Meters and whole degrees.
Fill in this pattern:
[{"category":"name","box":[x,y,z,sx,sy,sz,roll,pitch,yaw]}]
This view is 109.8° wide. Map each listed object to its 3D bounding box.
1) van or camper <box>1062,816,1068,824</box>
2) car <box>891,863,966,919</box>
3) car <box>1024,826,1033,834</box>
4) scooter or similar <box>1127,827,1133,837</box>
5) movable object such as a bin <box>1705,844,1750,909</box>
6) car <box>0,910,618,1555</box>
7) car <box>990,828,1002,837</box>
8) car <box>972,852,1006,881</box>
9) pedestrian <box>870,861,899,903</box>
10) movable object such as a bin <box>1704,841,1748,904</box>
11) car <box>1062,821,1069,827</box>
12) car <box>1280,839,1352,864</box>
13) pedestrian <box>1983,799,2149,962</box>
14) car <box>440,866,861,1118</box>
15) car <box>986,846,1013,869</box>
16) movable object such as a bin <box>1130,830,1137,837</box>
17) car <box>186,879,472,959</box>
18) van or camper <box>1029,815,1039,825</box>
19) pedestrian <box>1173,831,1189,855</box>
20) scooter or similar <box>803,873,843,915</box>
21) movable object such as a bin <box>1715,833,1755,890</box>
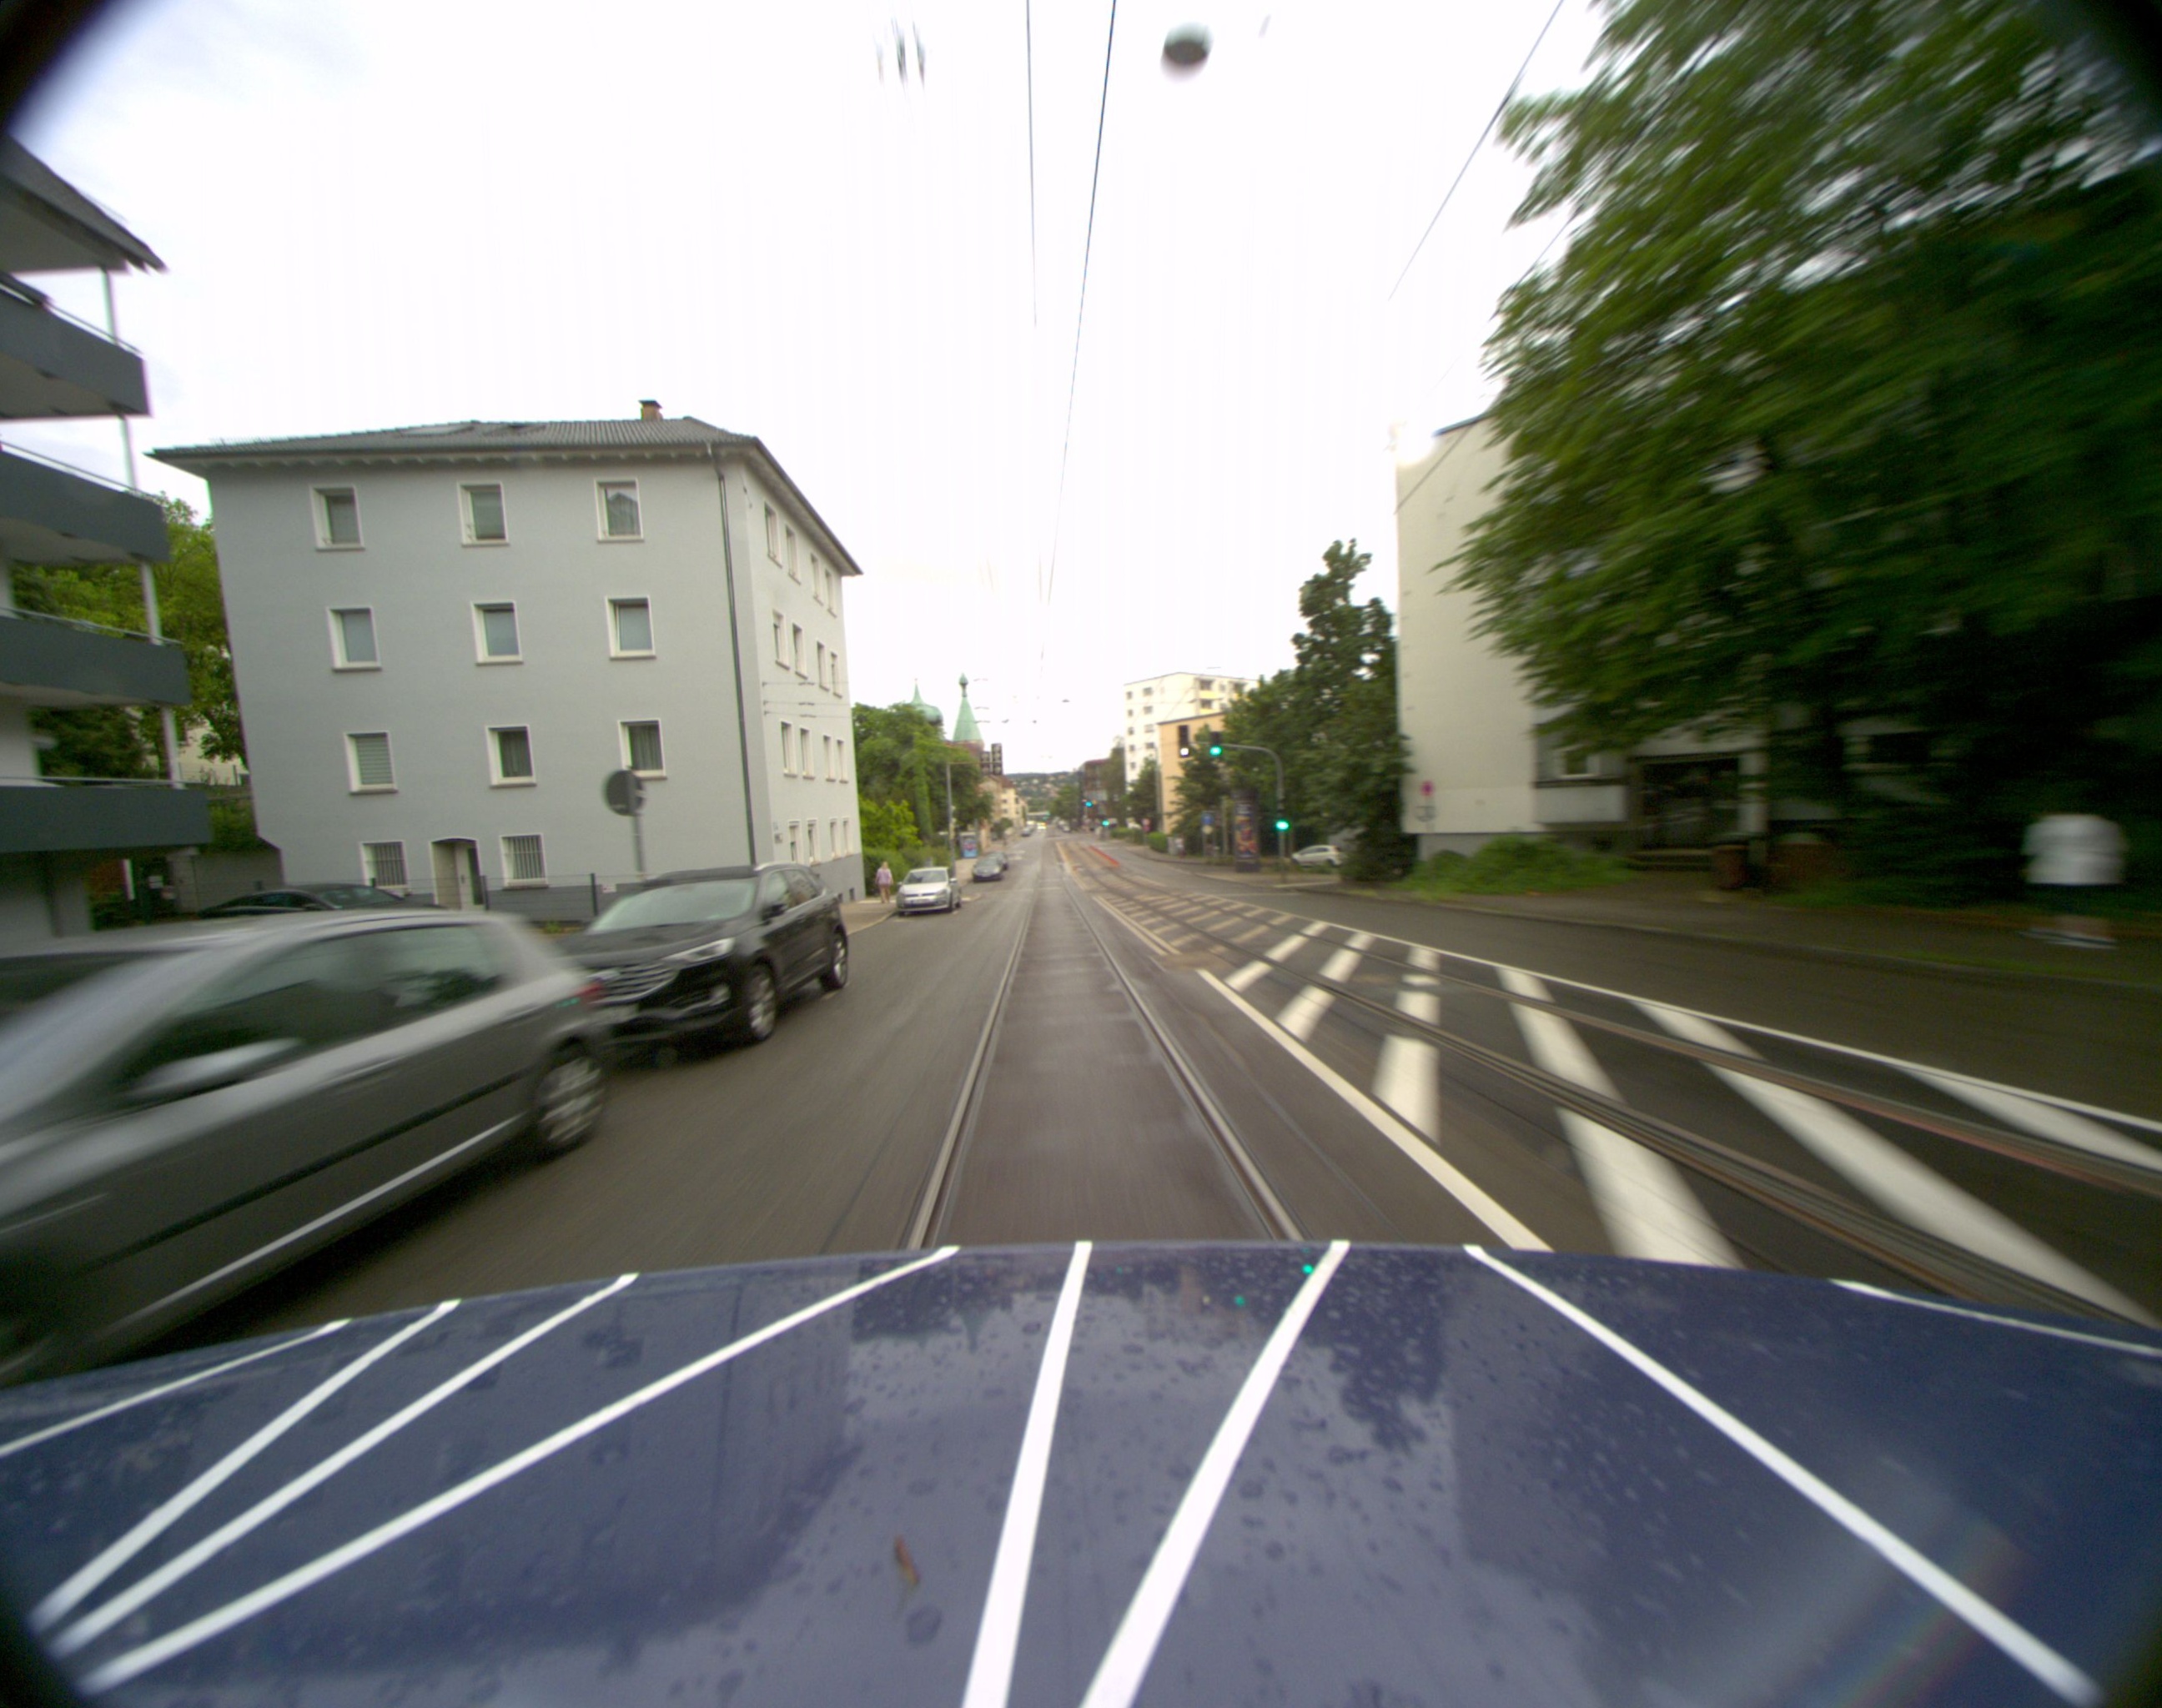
[{"category":"van or camper","box":[-5.538,-11.699,261.233,2.144,2.589,5.544,-4,5,-1]},{"category":"car","box":[-4.850,1.133,24.656,1.709,1.425,4.099,-5,1,-3]},{"category":"car","box":[-11.897,-5.449,172.538,1.735,1.452,4.473,-4,5,-3]},{"category":"scooter or similar","box":[6.475,-2.937,100.618,0.574,1.178,1.598,-4,5,0]},{"category":"movable object such as a bin","box":[13.039,0.442,15.335,0.668,1.227,0.625,-9,7,-44]},{"category":"car","box":[-3.740,1.159,2.657,1.709,1.419,4.248,-5,1,-3]},{"category":"car","box":[-15.693,-3.948,140.846,1.858,1.495,4.444,0,5,-2]},{"category":"car","box":[-5.888,0.796,49.162,1.945,1.456,4.202,-4,3,-4]},{"category":"pedestrian","box":[-7.576,1.066,29.330,0.885,1.574,0.801,-2,0,-1]},{"category":"movable object such as a bin","box":[13.460,0.373,15.854,0.668,1.227,0.625,-9,7,-44]},{"category":"car","box":[-5.303,-10.130,255.016,1.999,1.566,3.995,-4,5,-3]},{"category":"car","box":[15.855,-0.201,51.307,4.148,1.473,2.003,0,6,43]},{"category":"pedestrian","box":[10.450,0.257,8.091,0.584,1.591,0.868,-6,2,-6]},{"category":"car","box":[-3.940,1.080,8.135,1.911,1.632,4.687,-5,1,-3]},{"category":"car","box":[-6.513,0.225,61.038,1.863,1.479,4.640,-4,3,-4]},{"category":"movable object such as a bin","box":[7.079,-2.757,102.875,0.688,0.877,0.759,-4,5,-8]},{"category":"car","box":[-16.020,1.353,16.337,4.379,1.425,1.818,-1,4,3]},{"category":"van or camper","box":[-14.856,-10.820,241.162,2.754,3.042,7.023,-4,5,-2]},{"category":"pedestrian","box":[8.192,-0.887,62.446,0.922,1.836,1.016,-5,5,-8]},{"category":"scooter or similar","box":[-8.163,1.251,24.070,0.576,1.242,1.610,-4,-1,3]},{"category":"movable object such as a bin","box":[14.906,0.163,17.311,0.668,1.227,0.625,-9,7,-44]}]
